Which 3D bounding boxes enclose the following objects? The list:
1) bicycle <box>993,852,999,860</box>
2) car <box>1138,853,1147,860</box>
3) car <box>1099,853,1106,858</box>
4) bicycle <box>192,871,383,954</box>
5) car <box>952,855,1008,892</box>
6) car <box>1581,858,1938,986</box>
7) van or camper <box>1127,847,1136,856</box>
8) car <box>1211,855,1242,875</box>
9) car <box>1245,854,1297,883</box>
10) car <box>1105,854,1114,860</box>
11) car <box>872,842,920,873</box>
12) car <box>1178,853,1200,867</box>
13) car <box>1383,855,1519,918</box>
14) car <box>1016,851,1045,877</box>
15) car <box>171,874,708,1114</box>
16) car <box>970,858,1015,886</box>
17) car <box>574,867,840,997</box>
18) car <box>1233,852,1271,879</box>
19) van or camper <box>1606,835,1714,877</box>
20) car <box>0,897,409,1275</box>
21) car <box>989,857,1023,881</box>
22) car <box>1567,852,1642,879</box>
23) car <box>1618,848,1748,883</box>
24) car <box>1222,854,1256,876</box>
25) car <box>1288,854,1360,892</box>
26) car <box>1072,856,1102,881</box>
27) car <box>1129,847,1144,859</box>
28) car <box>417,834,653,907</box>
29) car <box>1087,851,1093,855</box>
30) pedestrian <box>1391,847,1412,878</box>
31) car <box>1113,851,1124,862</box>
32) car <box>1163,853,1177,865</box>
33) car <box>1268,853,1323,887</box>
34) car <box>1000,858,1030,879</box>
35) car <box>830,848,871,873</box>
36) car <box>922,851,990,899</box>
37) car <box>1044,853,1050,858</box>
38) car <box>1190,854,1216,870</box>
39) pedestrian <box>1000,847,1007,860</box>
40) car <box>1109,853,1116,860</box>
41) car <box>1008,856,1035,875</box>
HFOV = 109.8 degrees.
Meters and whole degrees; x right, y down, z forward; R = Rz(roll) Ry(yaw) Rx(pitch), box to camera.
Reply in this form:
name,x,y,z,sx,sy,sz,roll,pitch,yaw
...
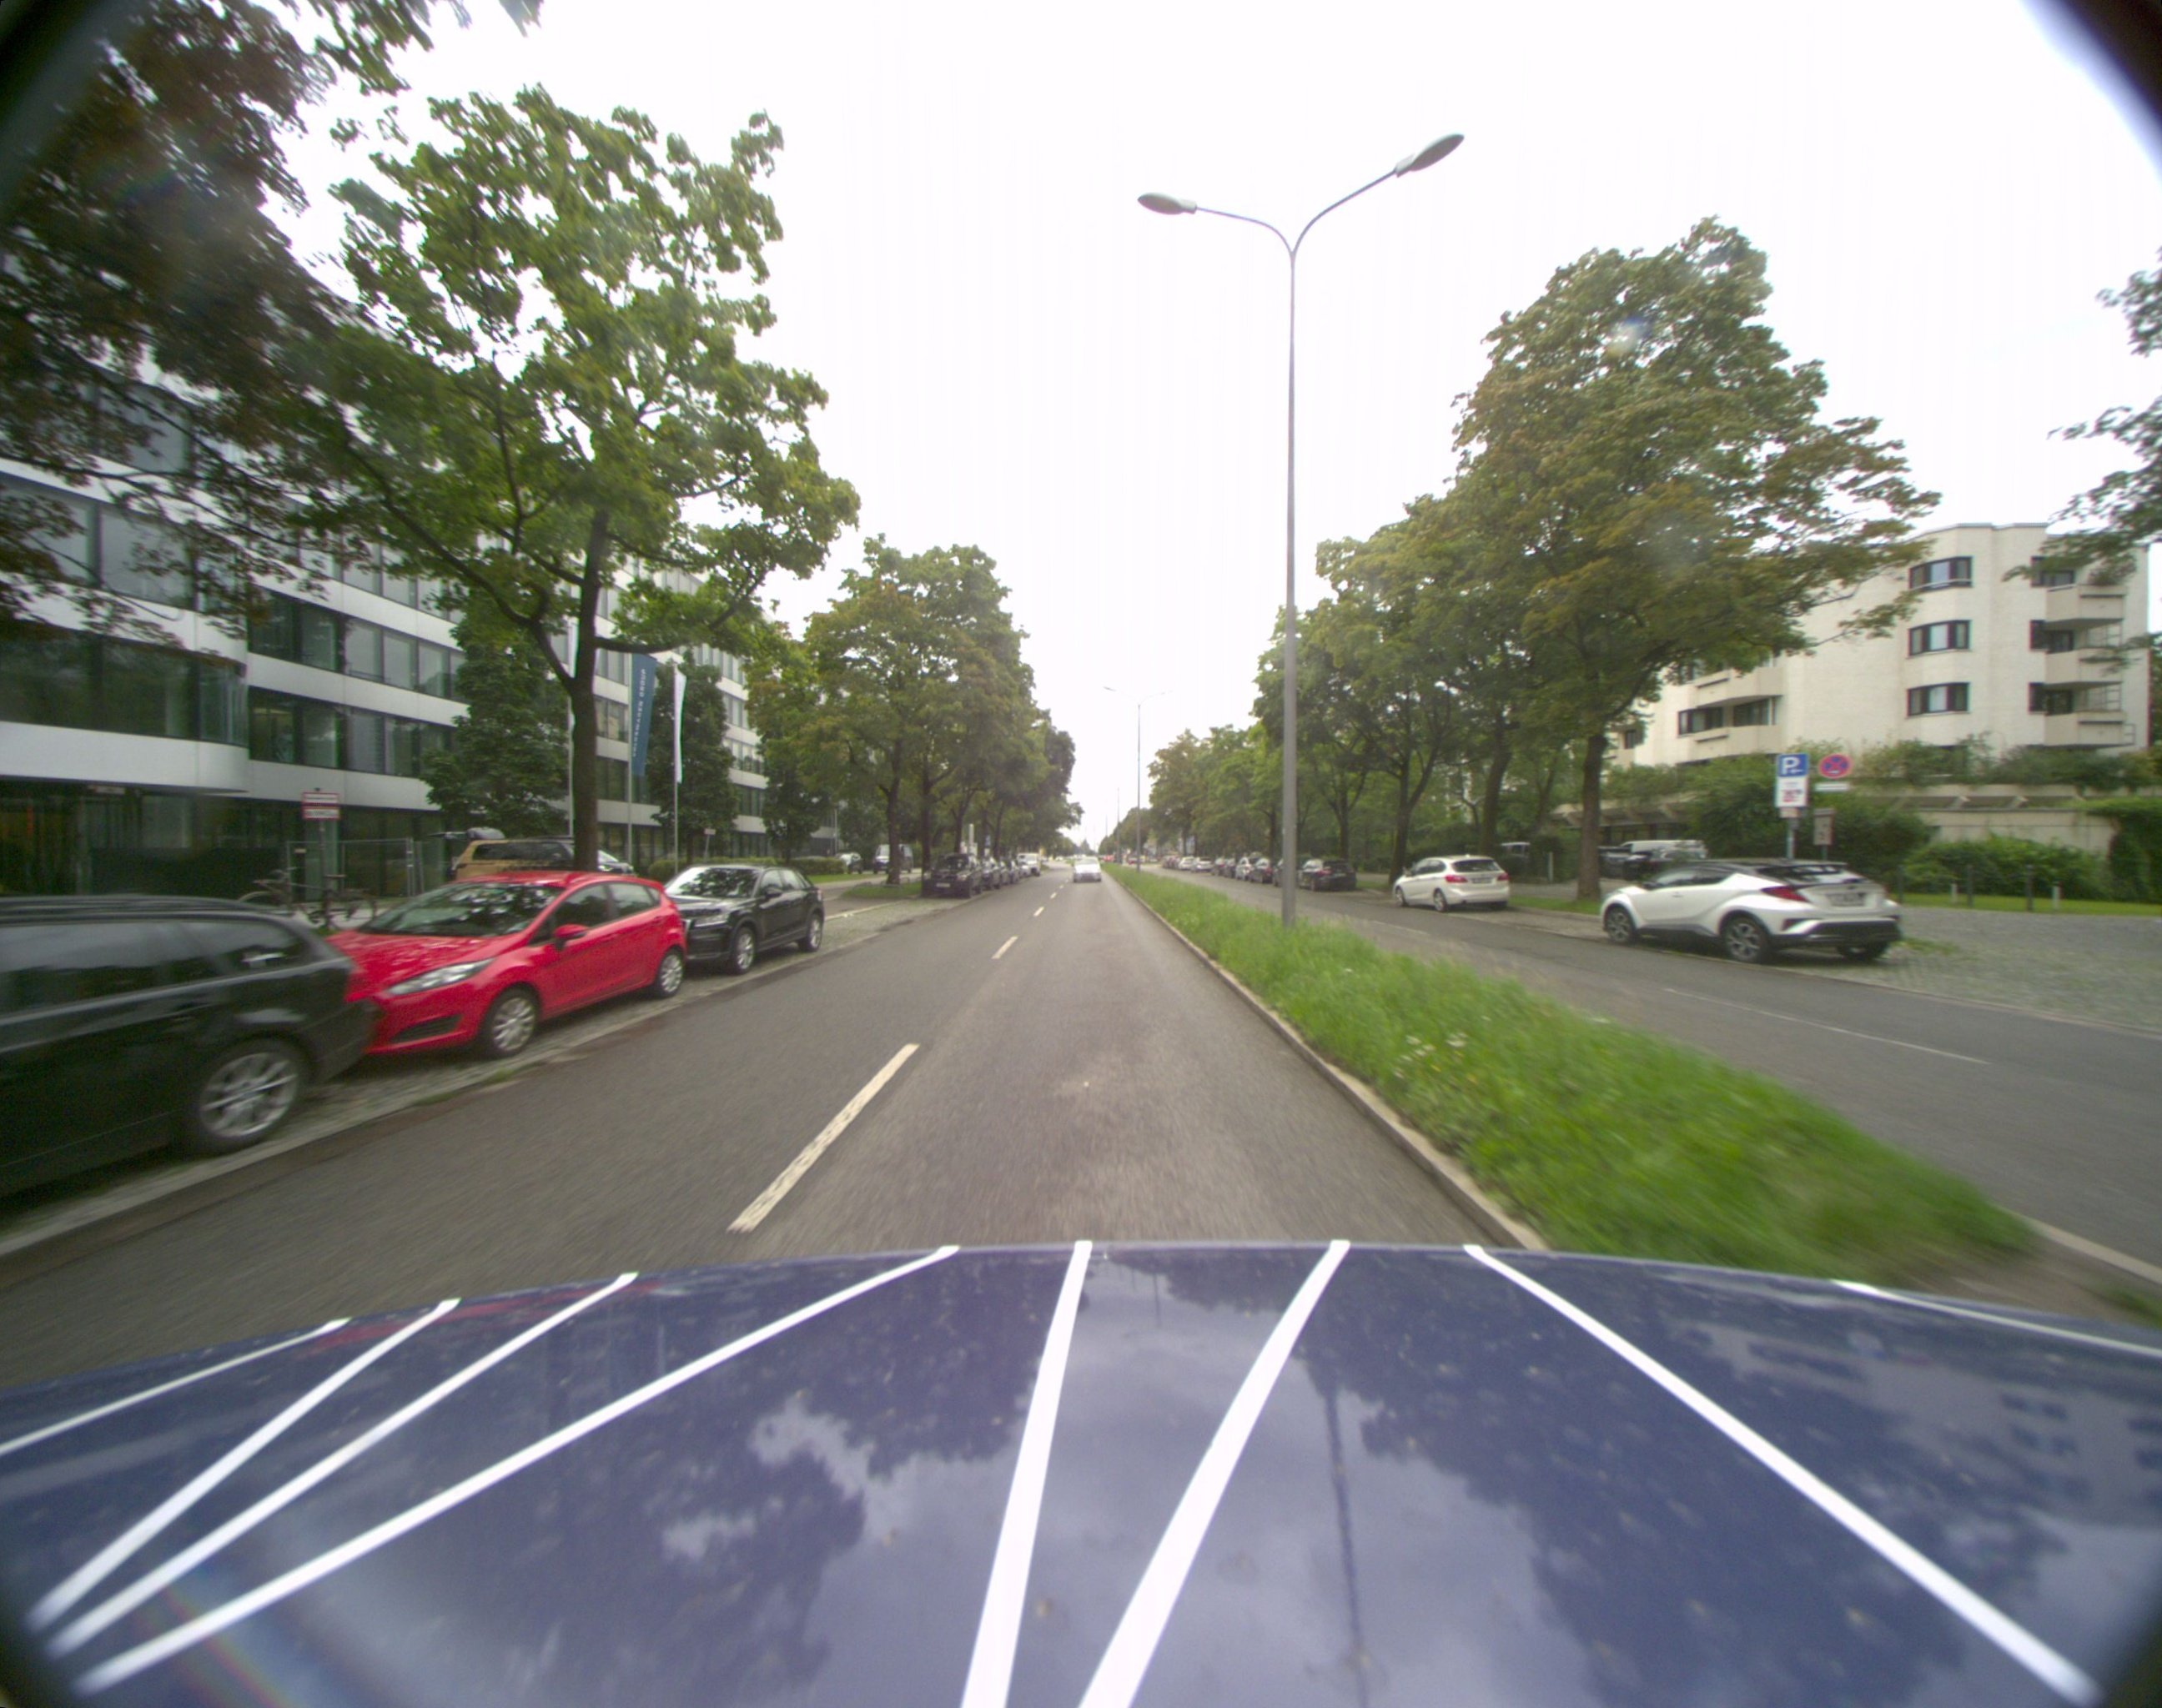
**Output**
name,x,y,z,sx,sy,sz,roll,pitch,yaw
bicycle,-12.828,0.324,114.348,0.531,1.219,1.862,2,-1,5
car,13.800,0.576,171.768,1.651,1.480,3.901,0,0,-1
car,6.546,0.365,233.732,1.962,1.471,4.259,0,0,1
bicycle,-12.871,0.902,12.461,0.750,1.176,2.246,0,0,1
car,-4.812,0.874,36.880,1.817,1.666,4.800,0,0,3
car,10.516,0.919,12.377,1.837,1.600,4.491,-2,0,1
van or camper,14.476,-0.670,217.376,2.055,2.472,5.548,0,0,0
car,11.397,0.828,59.858,1.584,1.415,4.362,-3,0,0
car,11.109,0.783,44.735,1.720,1.515,5.034,-3,0,0
car,7.873,0.752,208.891,1.920,1.475,4.863,0,0,-3
car,-14.295,0.242,59.025,2.271,2.293,6.267,0,0,-1
car,11.783,0.635,83.086,1.743,1.521,4.475,-2,0,1
car,10.705,0.859,22.417,1.761,1.585,4.489,-3,0,0
car,-4.334,0.813,66.189,1.992,2.145,5.555,0,0,1
car,-5.430,1.023,7.268,1.679,1.492,4.021,2,0,1
car,-4.875,0.973,42.404,1.705,1.400,4.513,0,0,3
car,-5.382,1.008,11.671,1.783,1.502,4.285,2,0,3
car,11.224,0.710,50.005,1.629,1.638,3.867,-3,0,1
van or camper,27.306,0.095,36.035,1.861,1.860,4.431,0,0,1
car,-5.415,1.042,2.844,1.679,1.445,4.582,2,0,1
car,-4.768,0.930,48.895,1.706,1.413,4.121,0,0,1
car,24.441,0.512,35.590,1.459,1.192,3.127,0,0,2
car,25.115,0.472,31.814,3.987,1.409,1.862,0,0,-1
car,11.294,0.786,54.517,1.629,1.415,4.192,-3,0,2
car,10.901,0.812,34.489,1.764,1.504,4.948,-2,0,1
car,0.374,0.832,45.349,1.679,1.433,3.734,0,0,1
car,10.136,-0.173,138.793,2.214,2.181,5.799,0,0,0
car,-16.199,0.463,22.777,5.484,2.071,2.147,0,0,0
car,3.085,-0.404,255.931,1.787,1.397,4.101,0,0,-1
pedestrian,16.913,0.452,40.139,0.850,1.646,0.609,0,1,5
car,7.088,0.393,144.609,1.785,2.017,4.818,0,0,0
car,12.202,0.662,104.369,1.651,1.605,3.819,-2,0,2
car,10.979,0.785,39.241,1.689,1.587,4.210,-2,0,1
car,-4.649,1.006,54.093,1.706,1.438,3.978,0,0,1
car,-17.681,0.481,58.490,1.847,1.807,4.471,0,0,-1
car,-4.979,0.797,30.967,1.897,1.789,4.861,0,0,1
car,-10.436,0.359,234.462,1.590,1.495,3.734,0,0,1
car,11.708,0.736,73.274,1.741,1.440,4.822,-3,0,0
pedestrian,-11.585,-0.025,113.144,0.651,1.888,0.750,1,1,32
car,7.859,0.672,191.248,1.770,1.615,4.376,0,0,1
car,-4.651,0.880,59.856,1.706,1.389,4.233,0,0,1
